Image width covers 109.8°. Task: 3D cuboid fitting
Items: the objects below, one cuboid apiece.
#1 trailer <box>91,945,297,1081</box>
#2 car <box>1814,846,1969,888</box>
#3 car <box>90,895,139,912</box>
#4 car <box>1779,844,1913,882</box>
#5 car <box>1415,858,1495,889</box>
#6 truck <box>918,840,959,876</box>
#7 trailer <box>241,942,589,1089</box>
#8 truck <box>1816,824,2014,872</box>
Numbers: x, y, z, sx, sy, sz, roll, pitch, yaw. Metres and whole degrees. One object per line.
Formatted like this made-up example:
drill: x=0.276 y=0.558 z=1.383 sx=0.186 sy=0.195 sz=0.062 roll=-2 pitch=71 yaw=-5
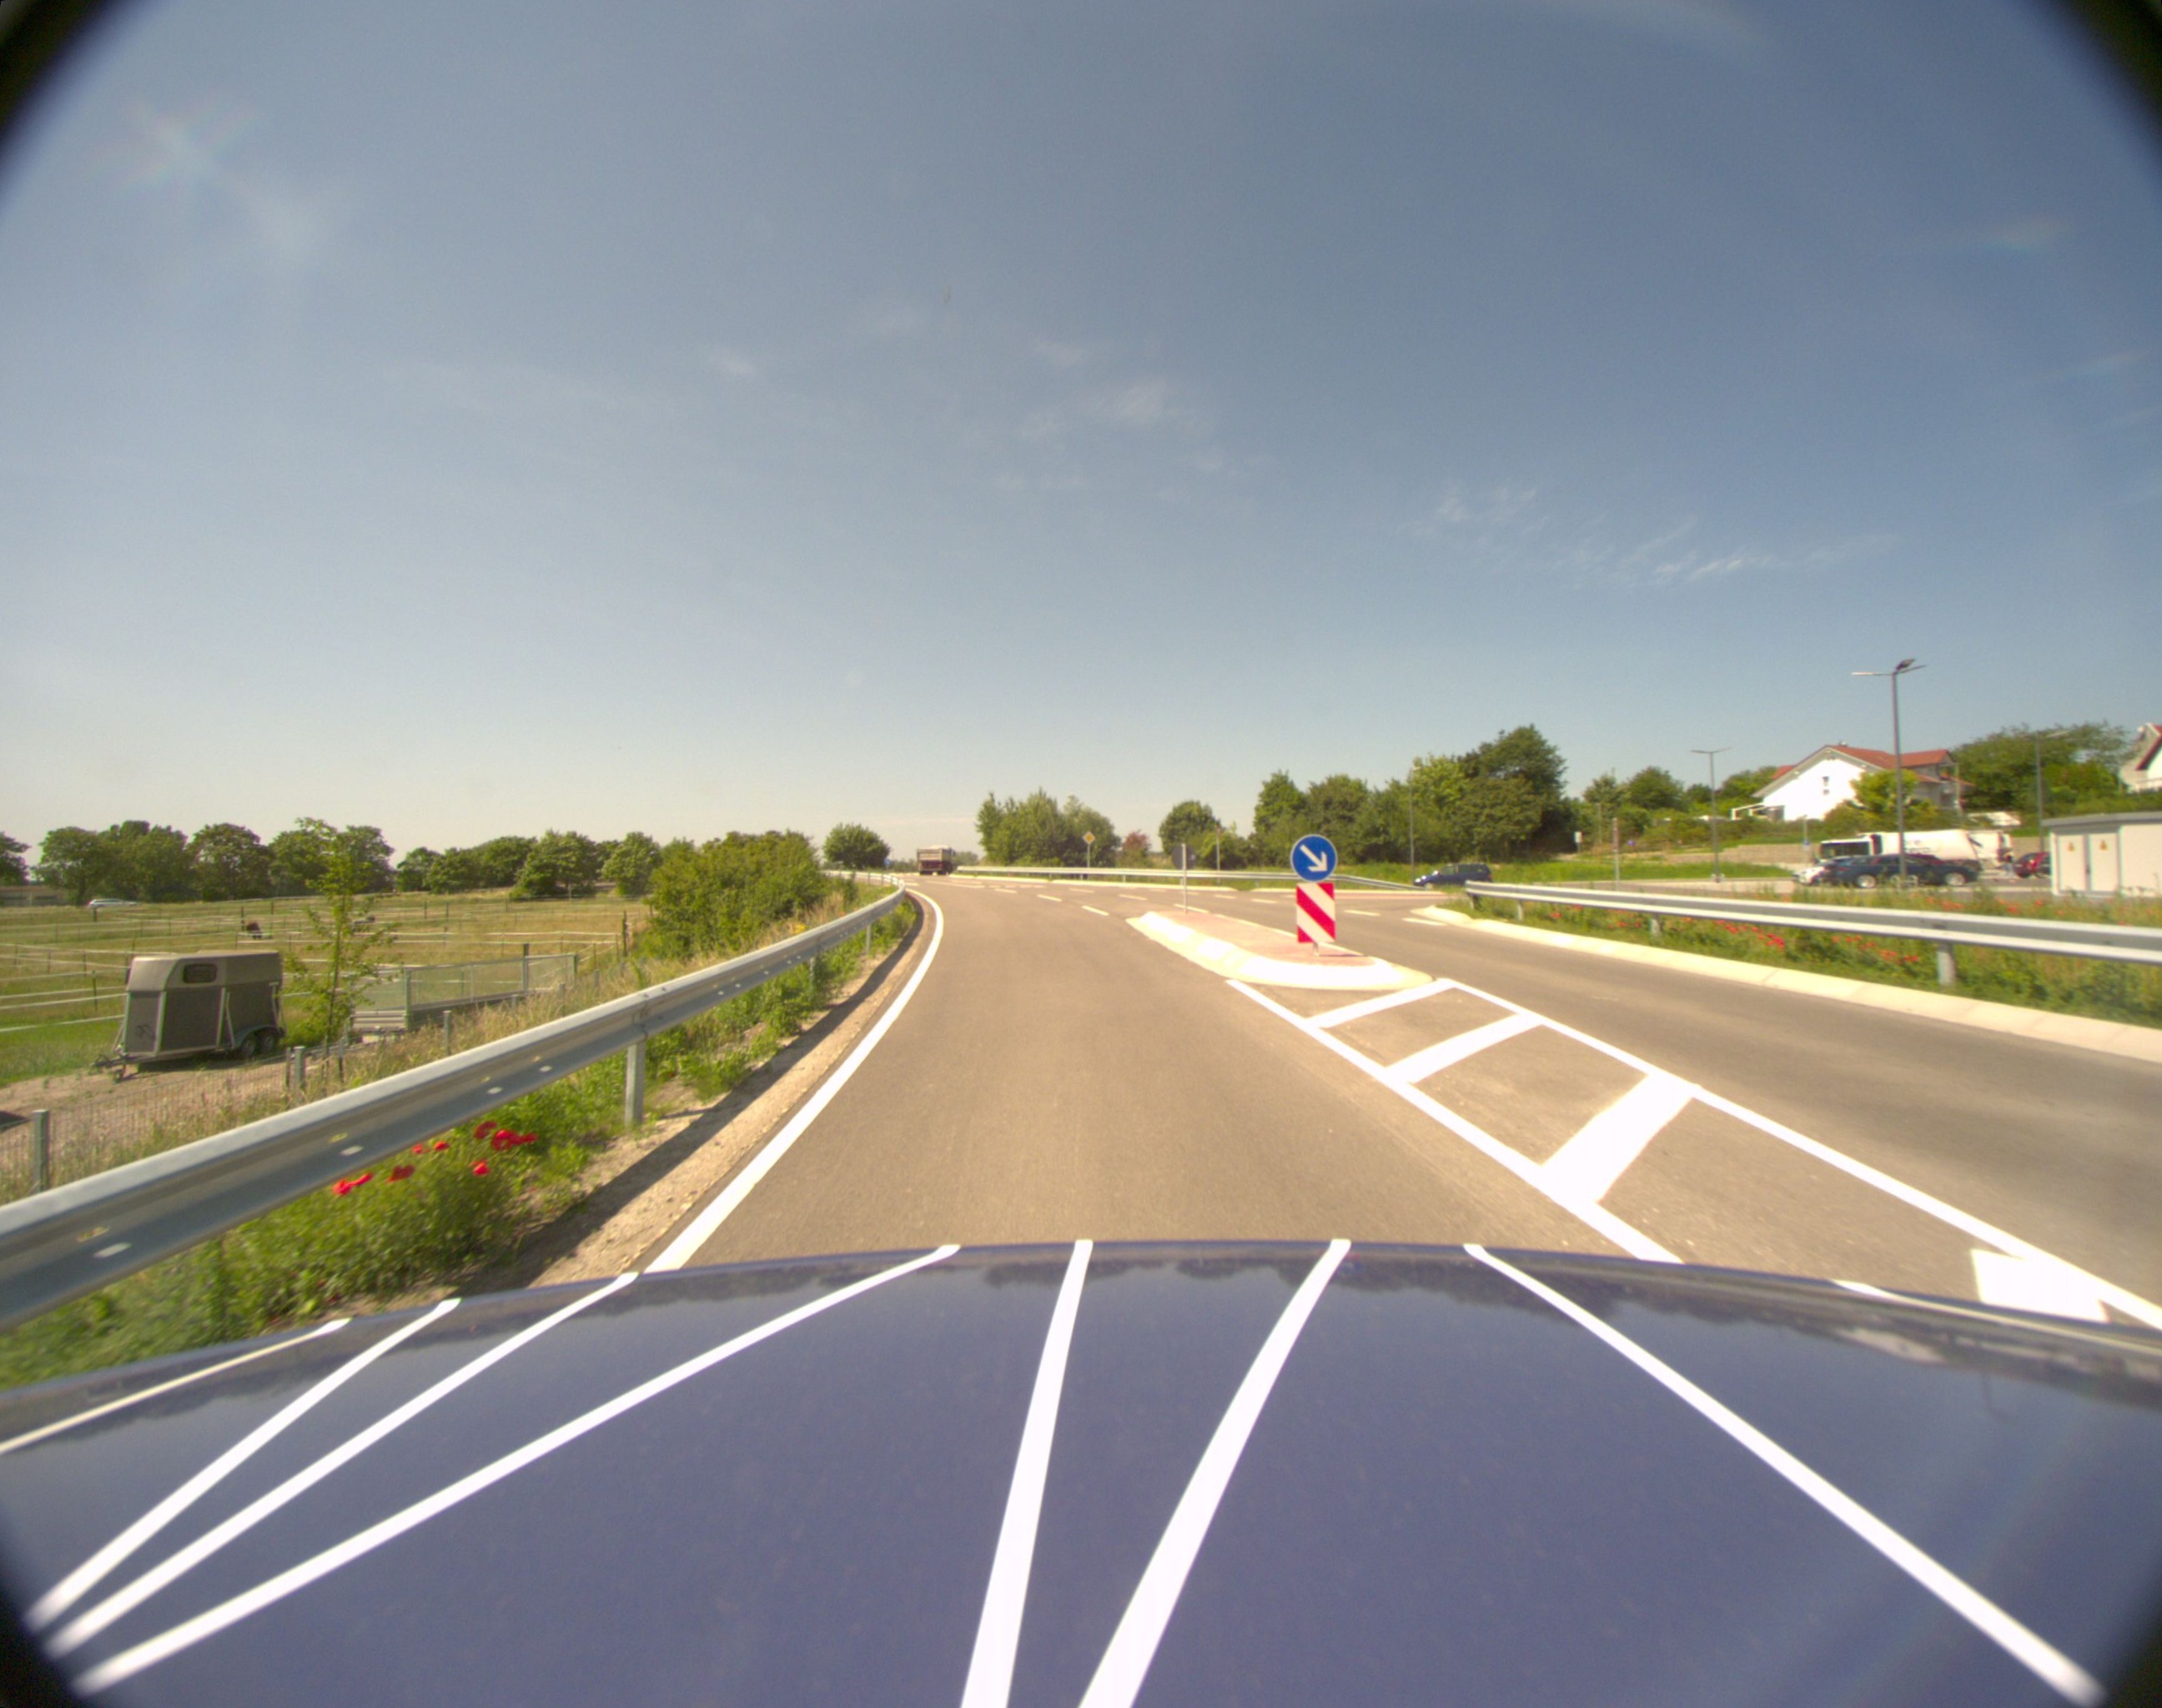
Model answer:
trailer: x=-22.061 y=3.826 z=19.135 sx=2.002 sy=2.787 sz=3.373 roll=0 pitch=-3 yaw=-22
car: x=36.075 y=0.593 z=33.996 sx=4.322 sy=1.694 sz=2.003 roll=-2 pitch=1 yaw=28
car: x=-141.600 y=7.256 z=111.400 sx=1.994 sy=2.002 sz=4.300 roll=-1 pitch=1 yaw=40
car: x=38.432 y=0.454 z=38.312 sx=4.323 sy=1.694 sz=2.003 roll=-2 pitch=1 yaw=22
car: x=22.425 y=1.165 z=45.698 sx=4.187 sy=1.694 sz=2.003 roll=-2 pitch=1 yaw=23
truck: x=-15.025 y=0.371 z=80.667 sx=2.823 sy=3.519 sz=8.190 roll=-2 pitch=1 yaw=-1
trailer: x=-16.332 y=3.775 z=19.268 sx=2.576 sy=2.366 sz=6.060 roll=-2 pitch=0 yaw=21
truck: x=62.601 y=-0.438 z=57.305 sx=10.704 sy=3.173 sz=2.449 roll=-2 pitch=1 yaw=11
